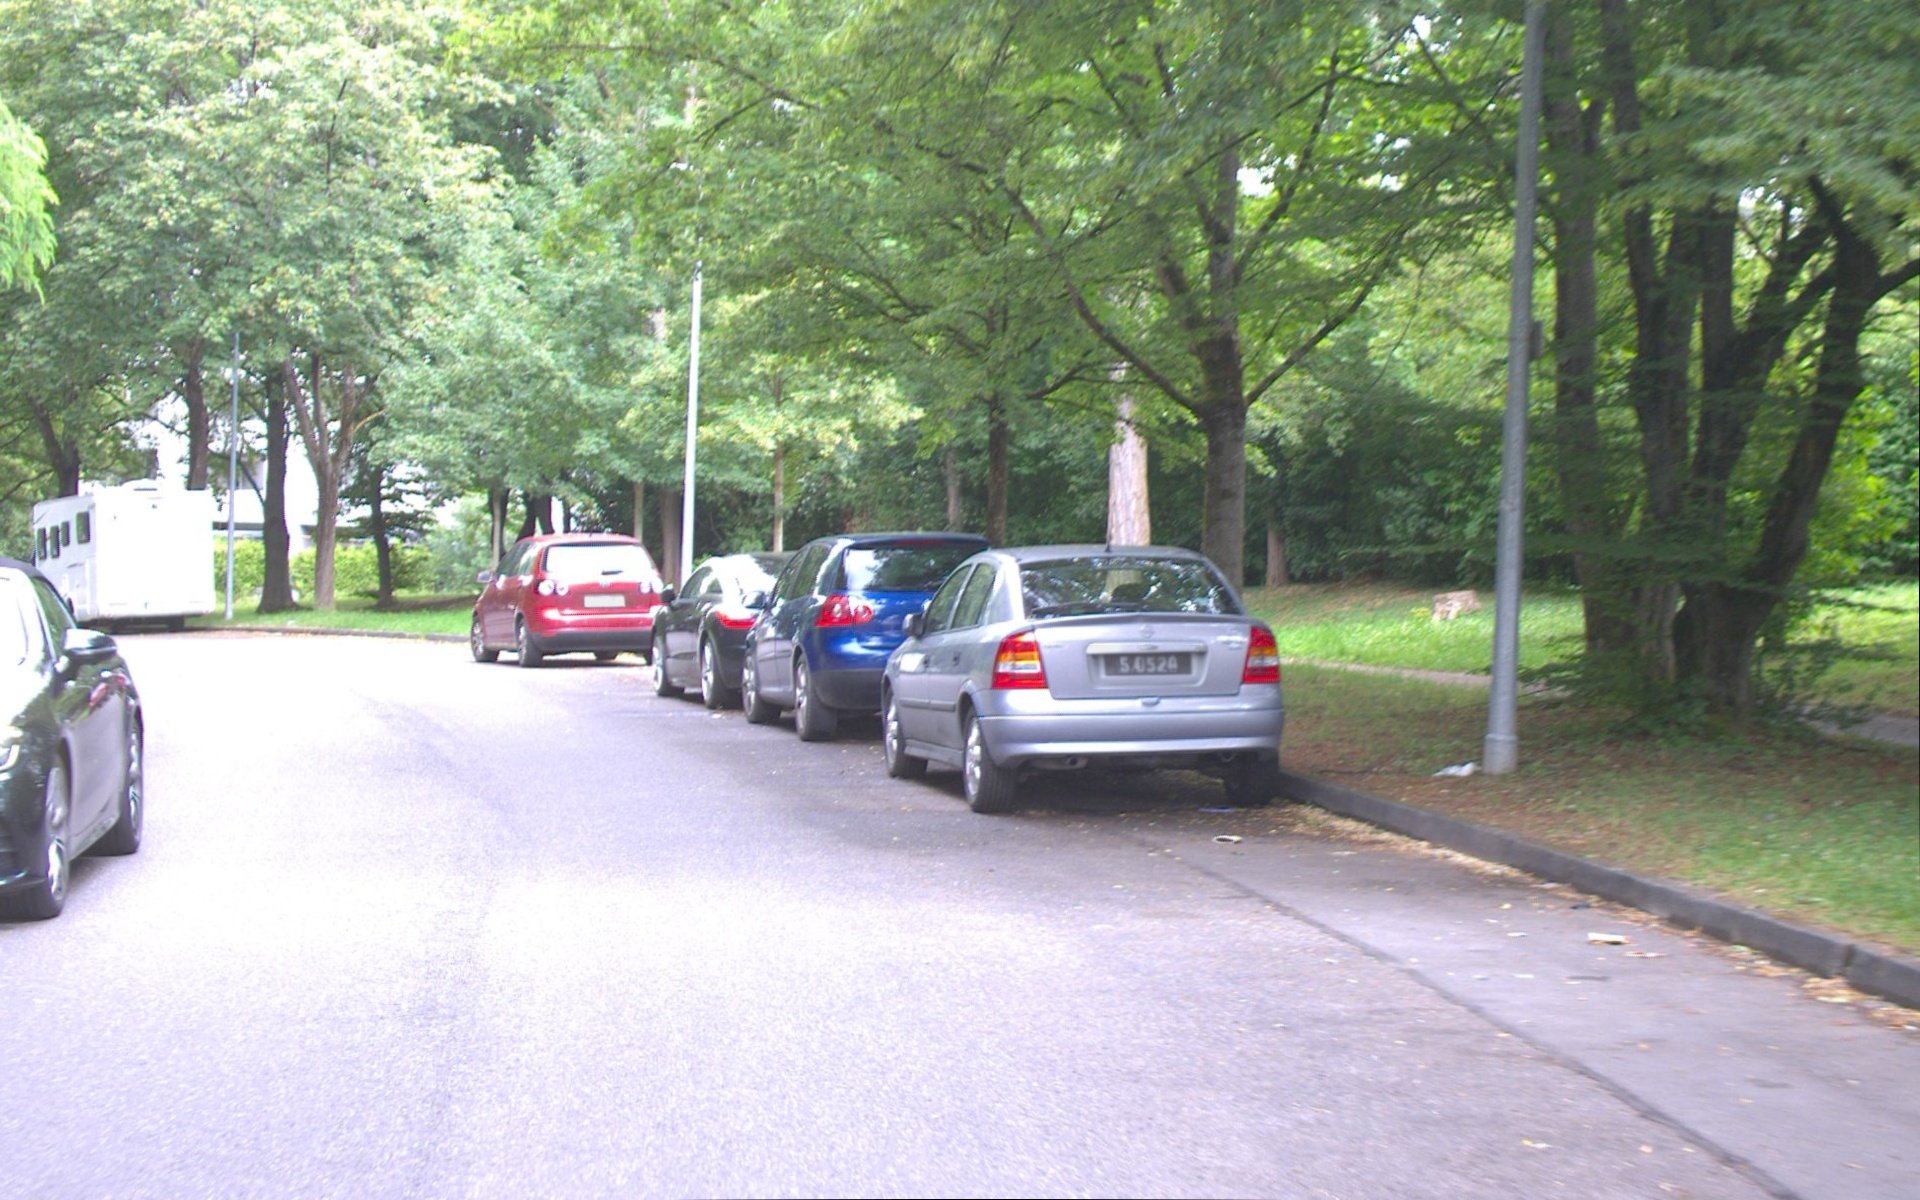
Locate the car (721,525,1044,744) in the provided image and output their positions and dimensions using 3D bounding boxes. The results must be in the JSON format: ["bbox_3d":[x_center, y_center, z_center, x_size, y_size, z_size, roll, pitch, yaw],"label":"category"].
[{"bbox_3d":[-0.686,0.241,26.406,1.713,1.504,4.182,2,0,-12],"label":"car"}]

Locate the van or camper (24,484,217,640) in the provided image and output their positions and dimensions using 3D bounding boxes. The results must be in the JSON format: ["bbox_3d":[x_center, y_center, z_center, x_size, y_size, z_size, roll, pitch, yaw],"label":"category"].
[{"bbox_3d":[-16.935,-0.795,69.163,2.429,2.997,5.209,-1,1,-29],"label":"van or camper"}]

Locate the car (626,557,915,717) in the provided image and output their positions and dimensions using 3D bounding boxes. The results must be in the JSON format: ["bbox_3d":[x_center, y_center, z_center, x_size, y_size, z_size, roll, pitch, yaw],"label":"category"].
[{"bbox_3d":[-1.790,0.292,31.052,1.749,1.332,4.417,0,0,-15],"label":"car"}]

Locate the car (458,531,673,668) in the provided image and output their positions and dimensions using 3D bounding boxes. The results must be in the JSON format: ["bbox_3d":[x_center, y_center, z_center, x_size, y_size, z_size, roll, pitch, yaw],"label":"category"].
[{"bbox_3d":[-4.825,-0.017,41.569,1.738,1.557,4.001,-1,0,-19],"label":"car"}]

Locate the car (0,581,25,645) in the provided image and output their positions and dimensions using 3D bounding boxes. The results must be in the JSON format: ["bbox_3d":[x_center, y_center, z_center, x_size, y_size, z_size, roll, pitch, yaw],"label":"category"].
[{"bbox_3d":[-23.666,0.251,80.597,1.994,1.468,3.999,2,0,-37],"label":"car"}]

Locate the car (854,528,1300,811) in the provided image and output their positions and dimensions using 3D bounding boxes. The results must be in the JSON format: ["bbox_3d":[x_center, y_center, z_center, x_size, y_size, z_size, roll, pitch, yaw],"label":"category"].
[{"bbox_3d":[0.553,0.345,19.684,1.717,1.426,3.950,-1,0,-11],"label":"car"}]

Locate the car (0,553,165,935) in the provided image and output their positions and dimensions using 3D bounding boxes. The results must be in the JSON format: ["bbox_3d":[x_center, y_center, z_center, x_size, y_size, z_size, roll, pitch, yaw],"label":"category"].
[{"bbox_3d":[-4.585,0.492,14.620,1.790,1.384,4.492,2,0,-6],"label":"car"}]
